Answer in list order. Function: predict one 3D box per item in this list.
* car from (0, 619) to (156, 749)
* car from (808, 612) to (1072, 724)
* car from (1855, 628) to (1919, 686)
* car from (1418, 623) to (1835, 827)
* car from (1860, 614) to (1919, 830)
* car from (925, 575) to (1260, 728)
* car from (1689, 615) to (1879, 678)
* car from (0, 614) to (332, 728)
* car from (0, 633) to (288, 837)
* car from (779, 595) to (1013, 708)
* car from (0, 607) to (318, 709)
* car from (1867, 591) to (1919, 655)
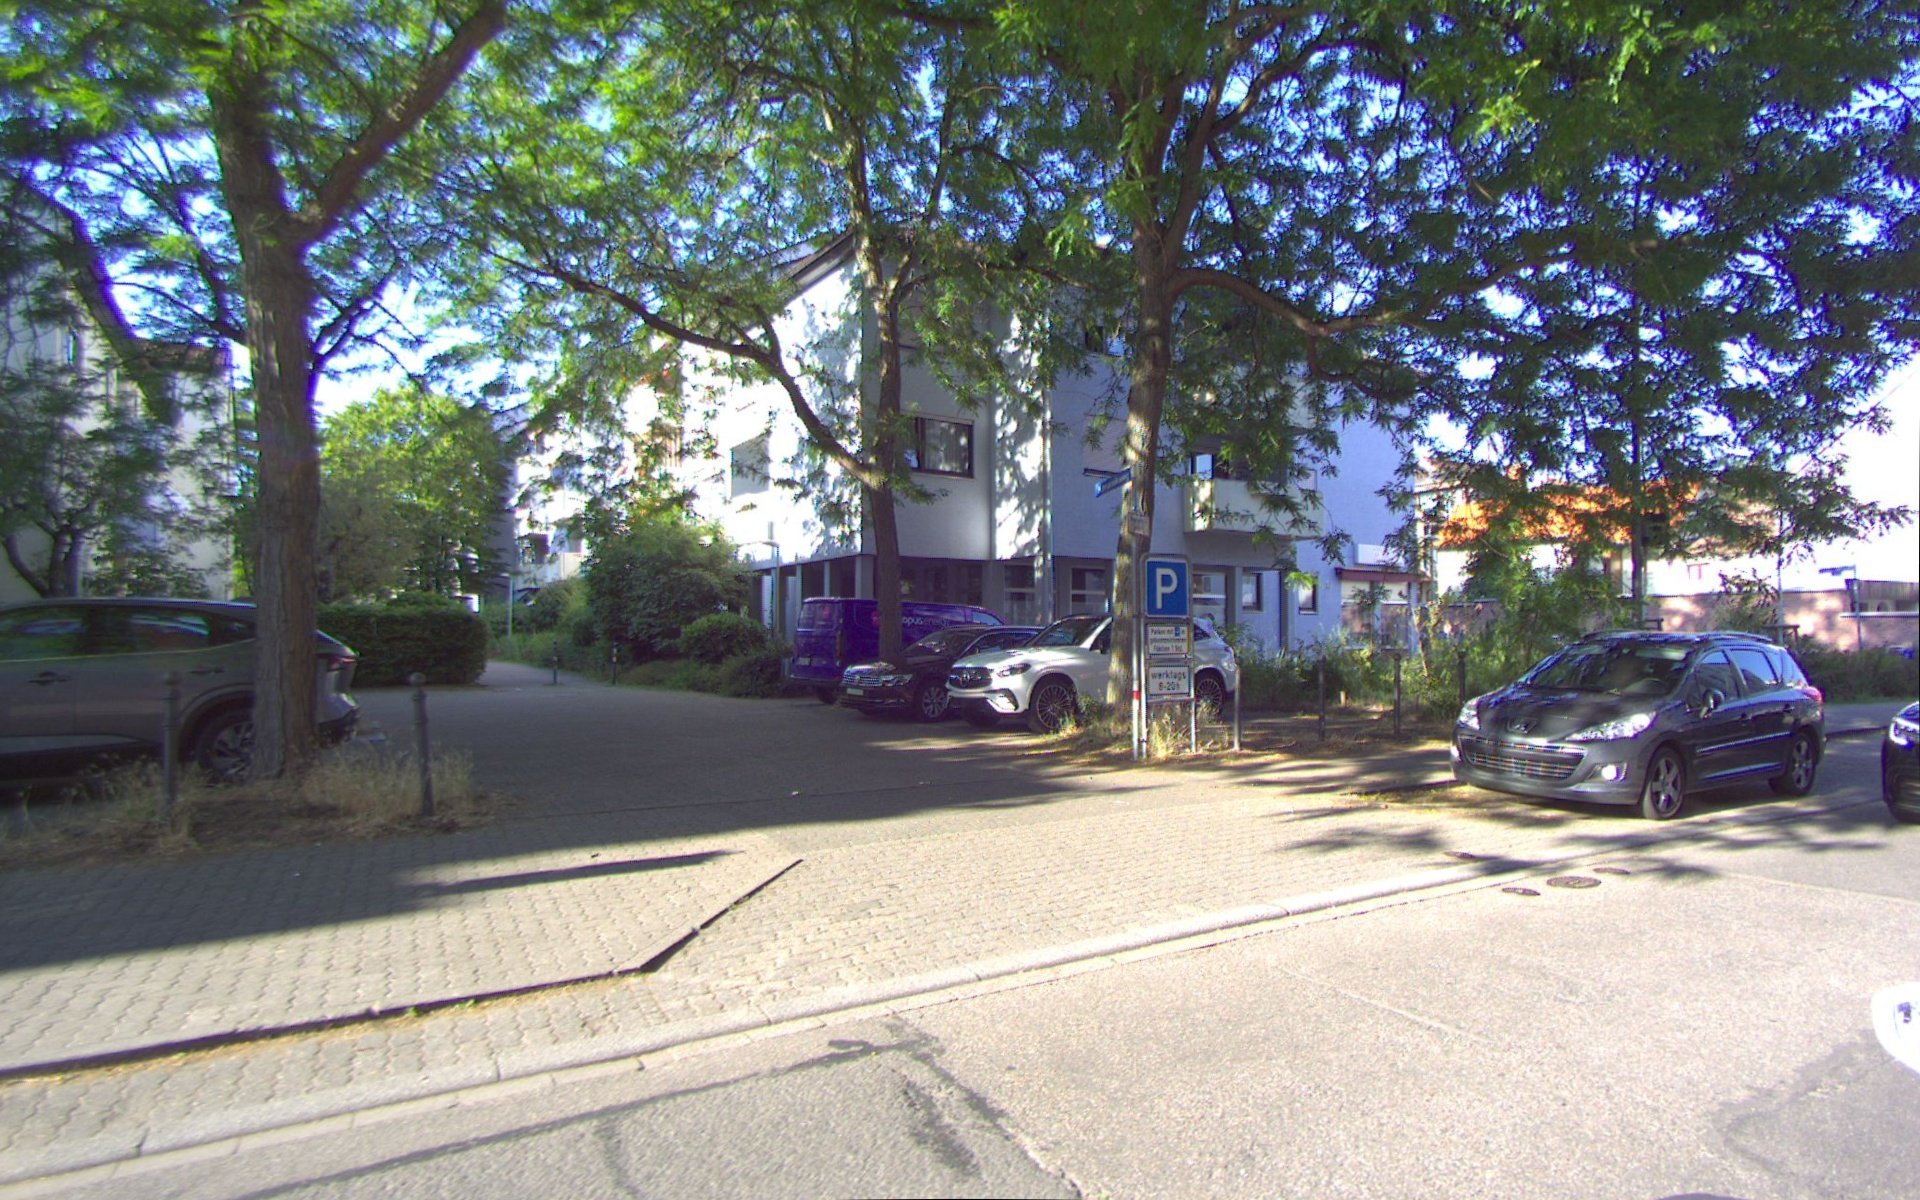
[{"bbox_3d":[-11.892,0.951,11.616,3.765,1.459,1.679,1,-2,-28],"label":"car"},{"bbox_3d":[-0.304,1.008,16.213,3.767,1.596,2.063,1,-1,-32],"label":"car"},{"bbox_3d":[27.365,1.548,27.546,1.974,1.550,3.755,0,-2,-27],"label":"car"},{"bbox_3d":[6.301,1.006,9.407,3.953,1.511,1.689,1,0,-30],"label":"car"},{"bbox_3d":[9.241,0.921,7.995,4.269,1.596,1.929,1,-2,-31],"label":"car"},{"bbox_3d":[2.025,0.680,14.692,4.853,1.920,1.833,1,-1,-33],"label":"car"},{"bbox_3d":[25.423,1.485,31.147,1.974,1.519,3.976,-2,-6,-27],"label":"car"},{"bbox_3d":[-12.469,1.011,15.412,4.780,1.495,1.982,1,1,-33],"label":"car"},{"bbox_3d":[-7.351,0.968,7.603,3.594,1.427,1.515,1,-2,-28],"label":"car"},{"bbox_3d":[-1.179,0.952,19.696,4.290,1.974,2.000,1,-2,-41],"label":"car"},{"bbox_3d":[-14.010,0.989,17.051,5.126,1.580,1.930,1,-5,-31],"label":"car"},{"bbox_3d":[30.246,0.739,29.922,1.961,1.819,4.347,-2,3,-26],"label":"car"}]
